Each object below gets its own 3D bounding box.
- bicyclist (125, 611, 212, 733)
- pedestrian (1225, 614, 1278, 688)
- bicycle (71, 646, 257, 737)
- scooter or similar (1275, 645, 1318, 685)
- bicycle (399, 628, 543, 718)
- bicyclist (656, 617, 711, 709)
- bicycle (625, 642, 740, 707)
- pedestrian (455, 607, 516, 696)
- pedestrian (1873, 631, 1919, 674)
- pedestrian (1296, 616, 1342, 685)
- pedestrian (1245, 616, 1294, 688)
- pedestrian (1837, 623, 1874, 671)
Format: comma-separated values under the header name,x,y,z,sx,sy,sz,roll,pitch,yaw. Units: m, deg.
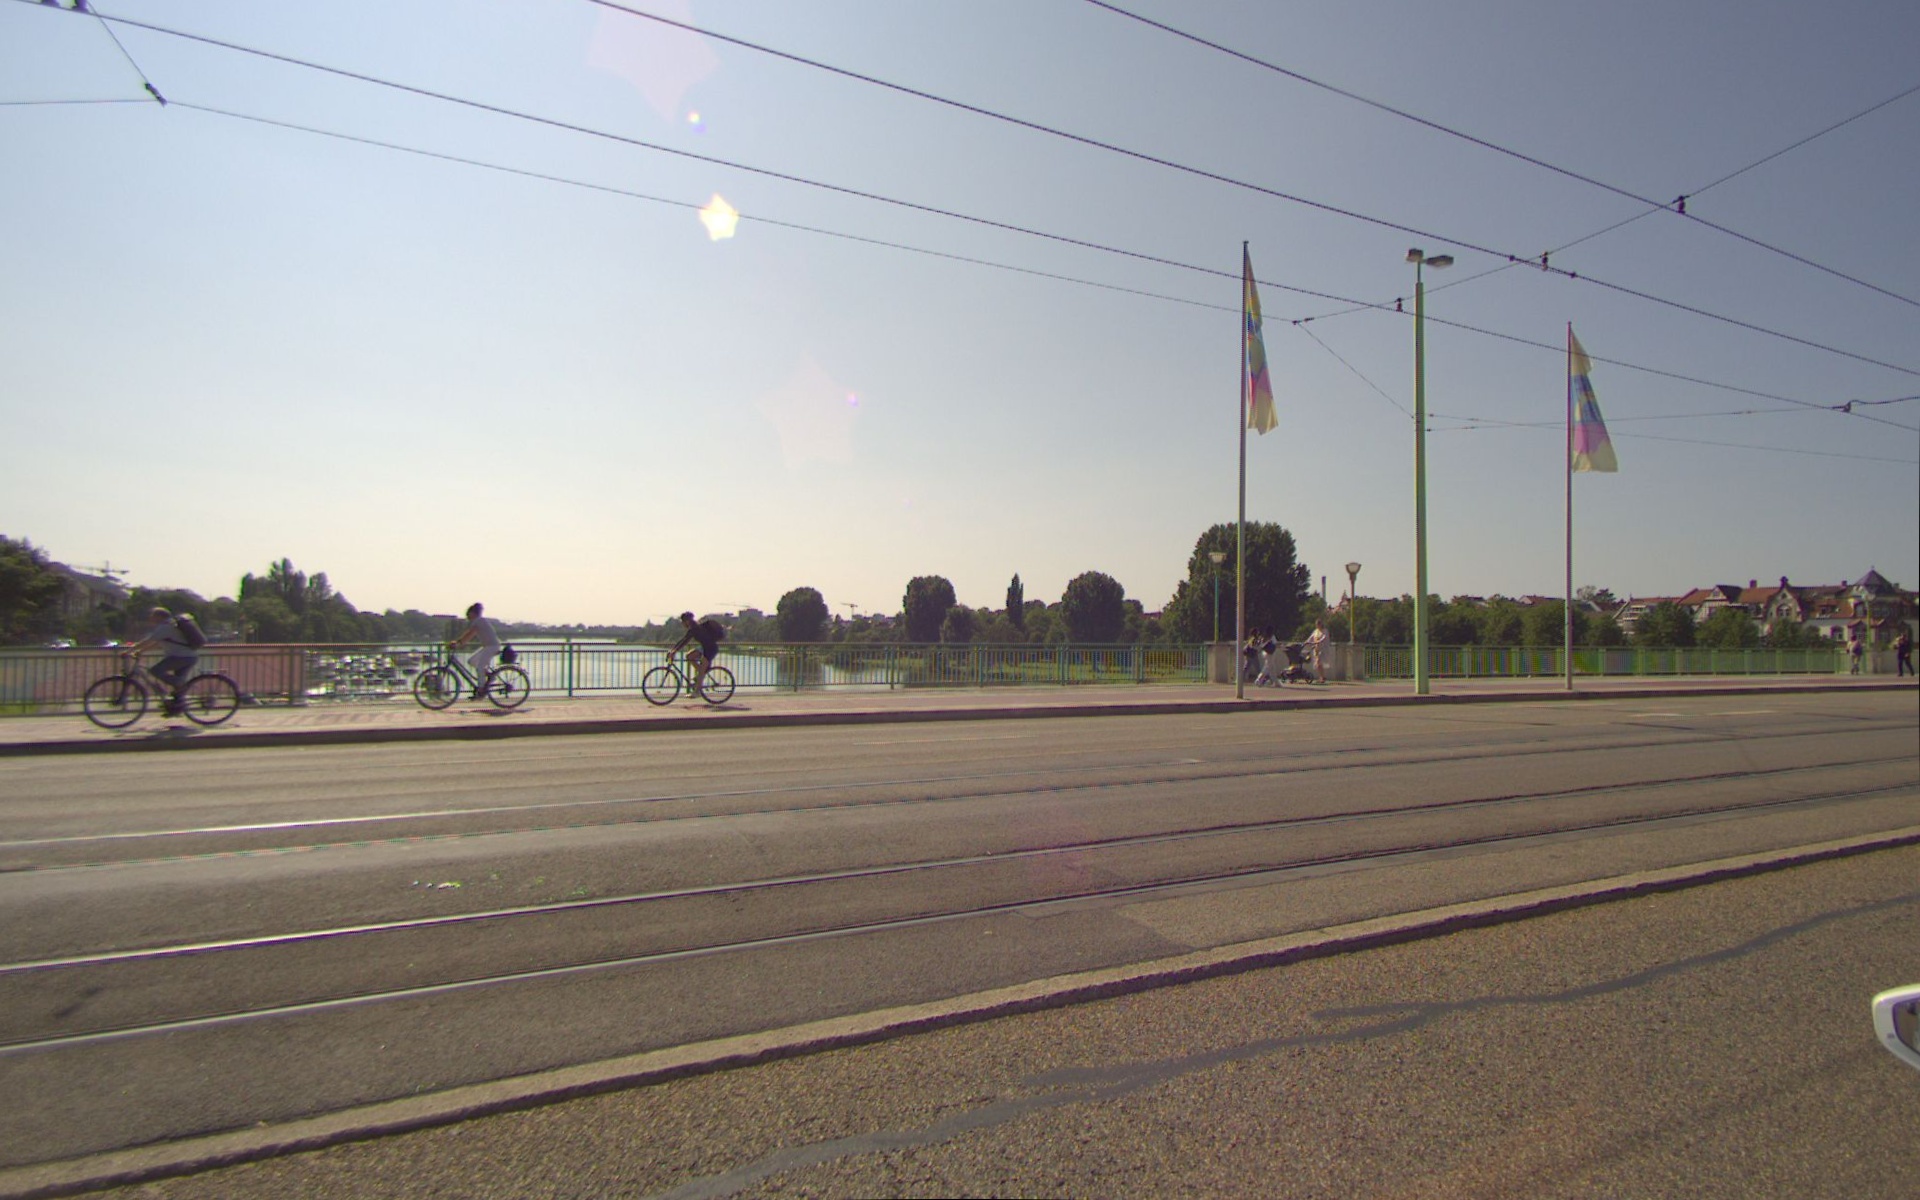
name,x,y,z,sx,sy,sz,roll,pitch,yaw
bicyclist,-11.064,0.993,14.071,0.761,1.630,0.875,0,-2,-25
pedestrian,7.770,1.347,26.781,1.108,1.874,0.735,1,2,-29
bicycle,-11.068,1.246,14.051,1.894,1.129,0.756,0,1,-26
scooter or similar,9.377,1.806,28.008,0.822,1.043,0.735,1,2,-29
bicycle,-8.286,1.213,17.055,2.137,1.418,0.701,1,2,-30
bicyclist,-5.067,1.134,18.387,0.762,1.630,0.874,2,-2,-27
bicycle,-5.069,1.345,18.384,1.896,1.128,0.756,2,-2,-27
pedestrian,-8.113,0.882,17.169,0.888,1.474,0.740,2,-2,-27
pedestrian,39.847,2.214,42.773,1.279,1.781,1.092,1,-2,-29
pedestrian,10.168,1.409,28.453,0.963,1.878,0.735,1,2,-29
pedestrian,8.125,1.349,26.371,0.946,1.808,0.735,1,2,-29
pedestrian,38.678,2.025,43.402,1.029,2.040,0.895,1,-2,-29
